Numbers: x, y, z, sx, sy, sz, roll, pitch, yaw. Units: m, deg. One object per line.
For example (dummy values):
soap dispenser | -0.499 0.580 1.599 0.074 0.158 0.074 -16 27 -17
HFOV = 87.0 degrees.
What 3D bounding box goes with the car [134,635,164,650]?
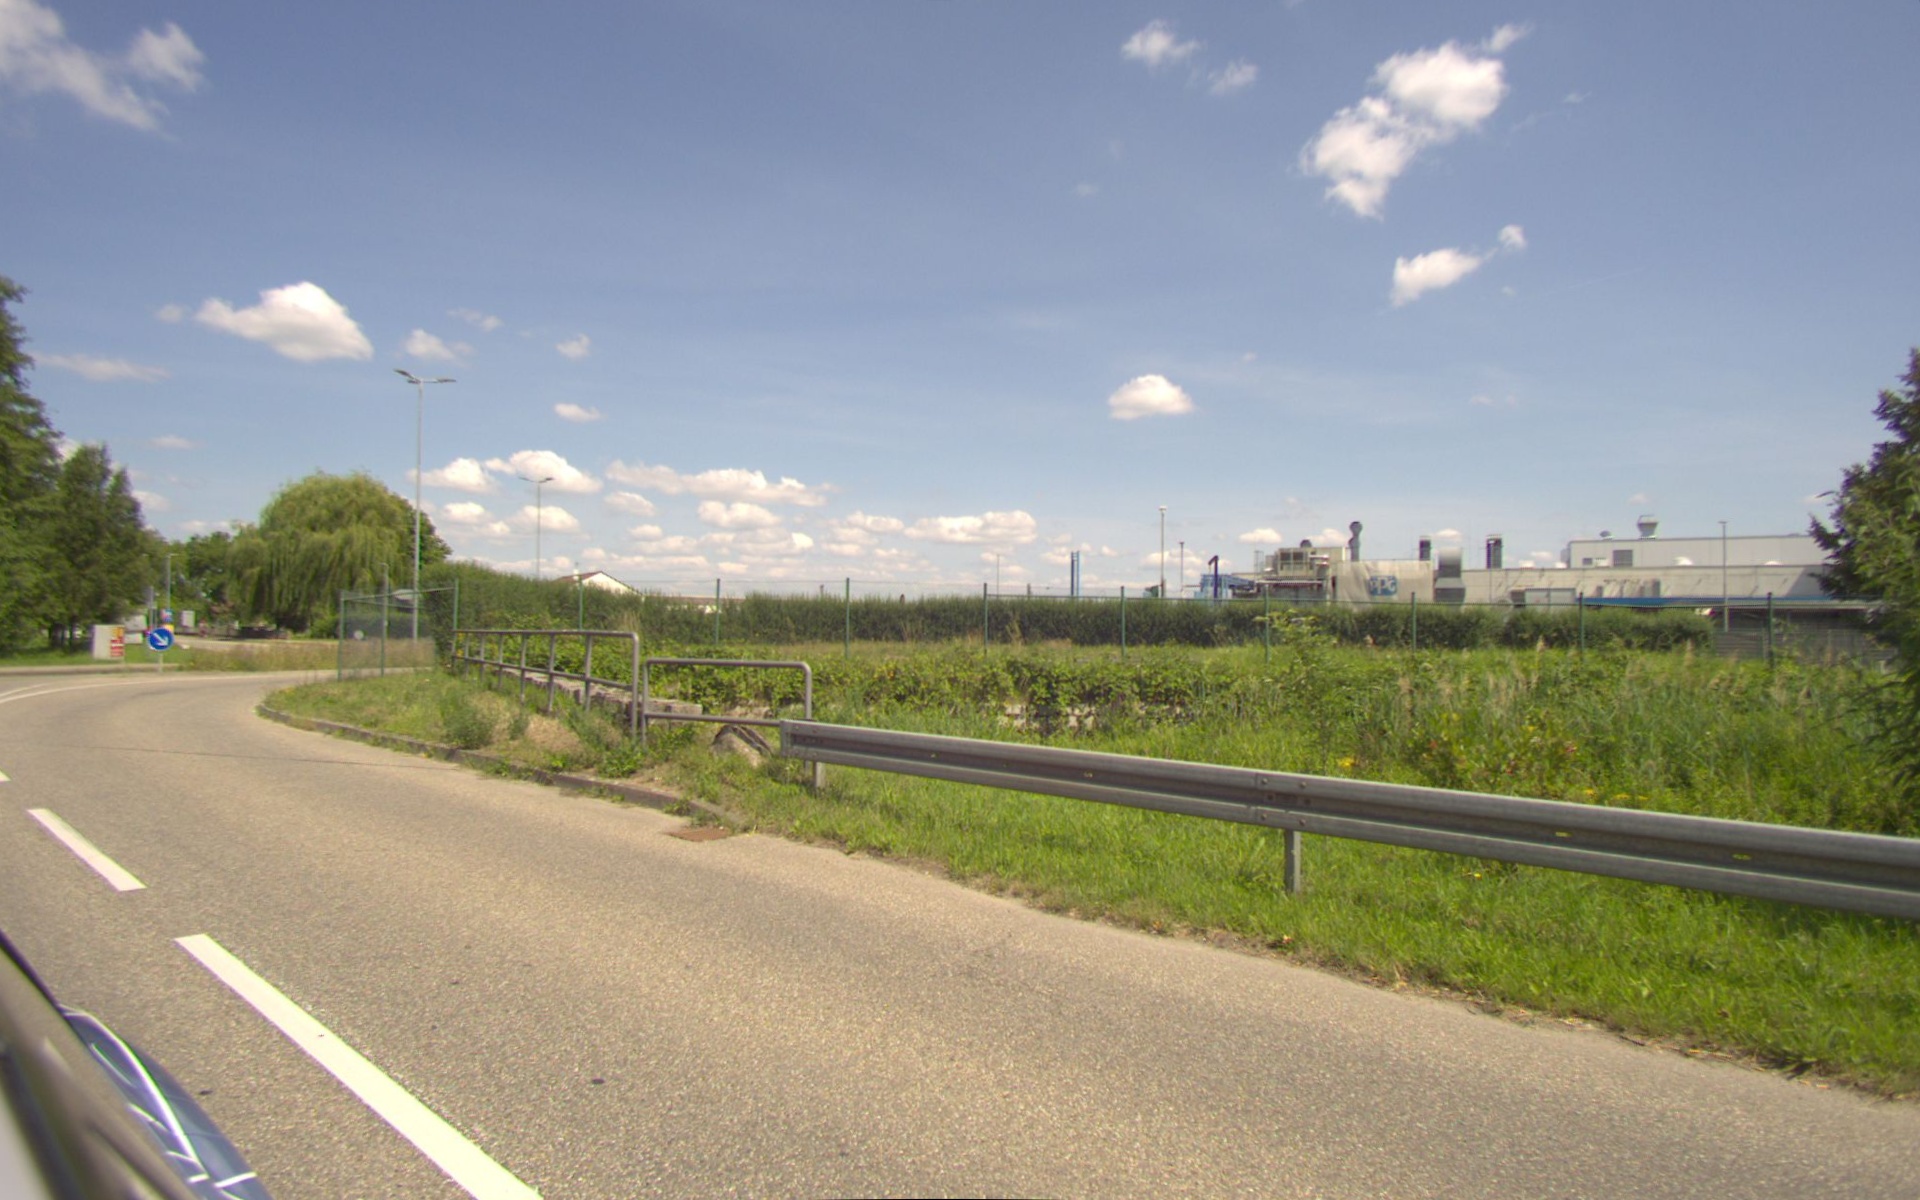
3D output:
car | -85.201 4.492 106.354 4.388 1.475 1.859 -2 -4 44
